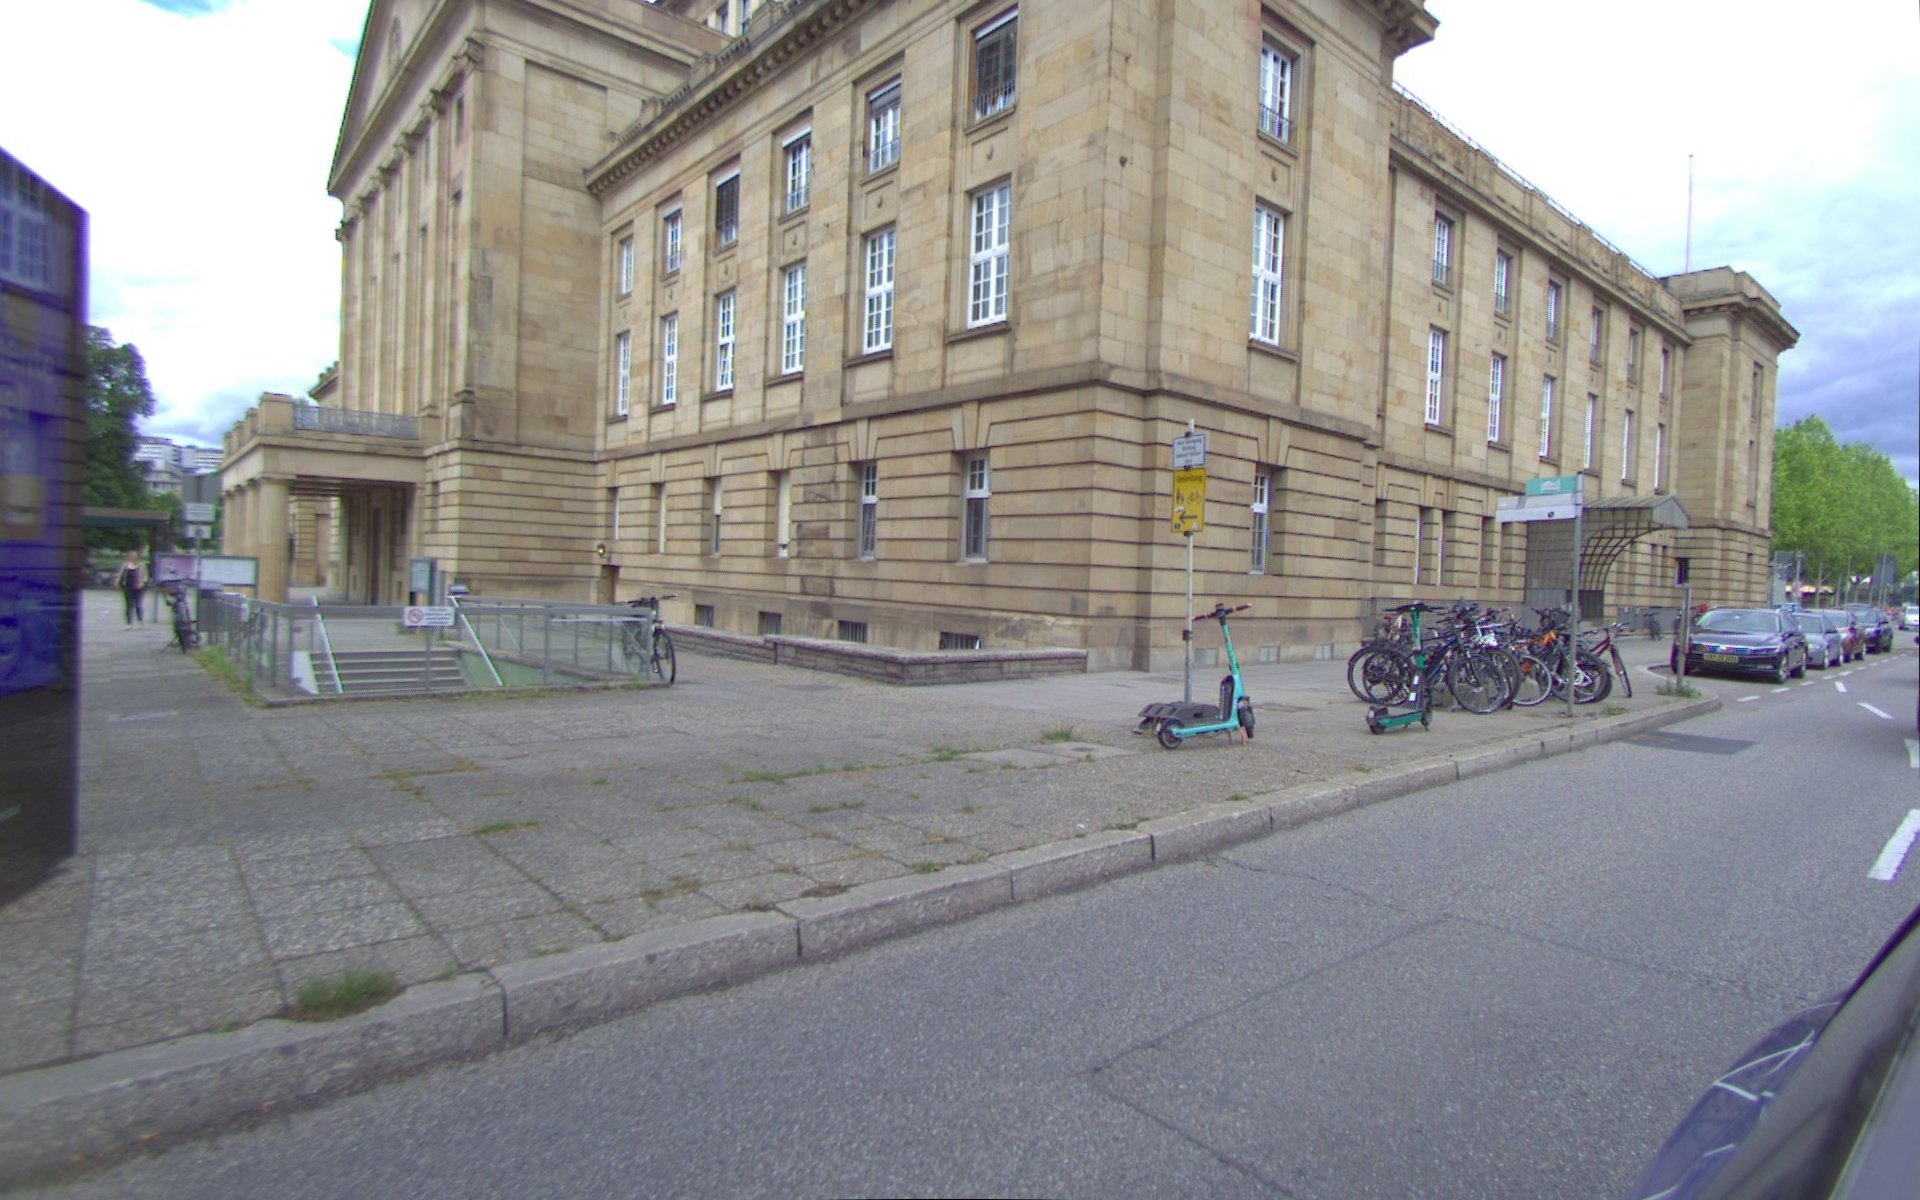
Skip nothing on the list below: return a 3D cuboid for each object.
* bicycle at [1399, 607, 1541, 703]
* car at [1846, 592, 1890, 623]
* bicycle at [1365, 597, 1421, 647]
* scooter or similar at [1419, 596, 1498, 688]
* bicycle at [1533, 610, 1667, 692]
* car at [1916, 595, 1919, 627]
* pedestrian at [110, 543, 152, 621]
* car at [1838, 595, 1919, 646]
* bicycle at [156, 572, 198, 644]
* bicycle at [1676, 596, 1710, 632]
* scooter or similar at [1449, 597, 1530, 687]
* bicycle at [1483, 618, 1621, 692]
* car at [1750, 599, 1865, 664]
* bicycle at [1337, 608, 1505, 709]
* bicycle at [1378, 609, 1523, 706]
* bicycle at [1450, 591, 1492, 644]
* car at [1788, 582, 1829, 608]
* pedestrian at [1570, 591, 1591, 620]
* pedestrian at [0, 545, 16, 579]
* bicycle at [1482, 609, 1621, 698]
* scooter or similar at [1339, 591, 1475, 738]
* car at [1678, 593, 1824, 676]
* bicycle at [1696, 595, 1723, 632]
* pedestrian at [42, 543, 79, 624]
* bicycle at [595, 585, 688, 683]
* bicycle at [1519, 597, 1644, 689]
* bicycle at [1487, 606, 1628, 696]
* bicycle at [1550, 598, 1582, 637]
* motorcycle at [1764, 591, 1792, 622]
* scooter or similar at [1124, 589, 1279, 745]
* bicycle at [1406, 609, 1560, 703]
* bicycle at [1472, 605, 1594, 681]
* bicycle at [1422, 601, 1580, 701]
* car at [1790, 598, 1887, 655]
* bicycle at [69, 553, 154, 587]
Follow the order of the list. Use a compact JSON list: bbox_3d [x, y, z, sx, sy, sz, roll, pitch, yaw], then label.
[{"bbox_3d":[6.493,0.665,12.980,0.373,1.105,1.736,1,0,-28],"label":"bicycle"},{"bbox_3d":[54.357,0.442,60.573,1.805,1.760,4.414,2,0,43],"label":"car"},{"bbox_3d":[9.089,0.444,21.207,1.929,1.010,0.240,0,2,-42],"label":"bicycle"},{"bbox_3d":[7.351,0.602,14.926,1.126,1.294,0.564,1,0,-35],"label":"scooter or similar"},{"bbox_3d":[9.537,0.731,15.151,0.573,1.087,1.672,1,1,-21],"label":"bicycle"},{"bbox_3d":[63.764,0.737,65.847,3.933,2.038,1.996,0,2,-43],"label":"car"},{"bbox_3d":[-18.930,-0.422,23.120,0.692,1.743,0.680,1,1,-42],"label":"pedestrian"},{"bbox_3d":[31.333,0.677,34.467,3.642,1.571,1.549,1,2,-40],"label":"car"},{"bbox_3d":[-12.899,0.110,16.699,0.418,1.114,2.173,0,1,-34],"label":"bicycle"},{"bbox_3d":[26.232,0.504,36.221,1.882,1.232,0.556,0,2,-42],"label":"bicycle"},{"bbox_3d":[7.635,0.582,14.576,1.286,1.239,0.427,0,0,-31],"label":"scooter or similar"},{"bbox_3d":[8.725,0.783,14.987,0.601,0.928,1.738,1,2,-22],"label":"bicycle"},{"bbox_3d":[21.859,0.741,26.049,3.928,1.443,1.711,0,3,-42],"label":"car"},{"bbox_3d":[5.611,0.673,12.452,0.652,1.105,1.866,1,0,-28],"label":"bicycle"},{"bbox_3d":[6.138,0.681,12.763,0.417,1.105,1.736,1,0,-28],"label":"bicycle"},{"bbox_3d":[12.000,0.402,23.770,1.510,1.197,0.276,0,0,-39],"label":"bicycle"},{"bbox_3d":[52.886,-0.340,63.041,3.445,1.549,1.582,0,1,-44],"label":"car"},{"bbox_3d":[18.738,0.160,30.562,0.366,0.884,0.430,0,0,-40],"label":"pedestrian"},{"bbox_3d":[-53.095,-2.097,56.123,0.539,1.828,0.939,0,0,22],"label":"pedestrian"},{"bbox_3d":[8.152,0.723,14.017,1.597,1.144,0.466,1,0,24],"label":"bicycle"},{"bbox_3d":[4.459,0.591,10.064,1.389,1.348,0.726,0,1,-42],"label":"scooter or similar"},{"bbox_3d":[16.731,0.665,21.323,4.253,1.504,1.790,0,2,-44],"label":"car"},{"bbox_3d":[27.674,0.498,37.363,1.759,1.304,0.413,0,2,-42],"label":"bicycle"},{"bbox_3d":[-19.286,-0.351,21.700,0.559,1.716,0.431,1,1,-42],"label":"pedestrian"},{"bbox_3d":[-4.178,0.405,13.162,0.382,1.139,2.015,0,2,-41],"label":"bicycle"},{"bbox_3d":[9.165,0.600,14.988,0.532,1.272,1.550,1,0,-22],"label":"bicycle"},{"bbox_3d":[8.098,0.669,13.770,1.597,1.144,0.405,1,0,24],"label":"bicycle"},{"bbox_3d":[16.878,0.480,28.170,1.827,1.042,0.222,1,0,-42],"label":"bicycle"},{"bbox_3d":[35.240,0.274,43.602,1.887,1.257,0.456,0,3,-38],"label":"motorcycle"},{"bbox_3d":[2.151,0.557,8.965,1.405,1.296,0.433,0,0,-30],"label":"scooter or similar"},{"bbox_3d":[6.798,0.693,13.246,0.563,1.105,1.735,1,0,-32],"label":"bicycle"},{"bbox_3d":[8.444,0.610,14.969,0.427,1.041,1.570,1,0,-29],"label":"bicycle"},{"bbox_3d":[7.176,0.637,13.496,0.594,1.224,1.759,1,0,-43],"label":"bicycle"},{"bbox_3d":[25.834,0.726,29.724,3.792,1.473,1.619,0,3,-42],"label":"car"},{"bbox_3d":[-38.168,-1.325,45.549,2.852,1.443,0.959,0,0,-45],"label":"bicycle"}]
